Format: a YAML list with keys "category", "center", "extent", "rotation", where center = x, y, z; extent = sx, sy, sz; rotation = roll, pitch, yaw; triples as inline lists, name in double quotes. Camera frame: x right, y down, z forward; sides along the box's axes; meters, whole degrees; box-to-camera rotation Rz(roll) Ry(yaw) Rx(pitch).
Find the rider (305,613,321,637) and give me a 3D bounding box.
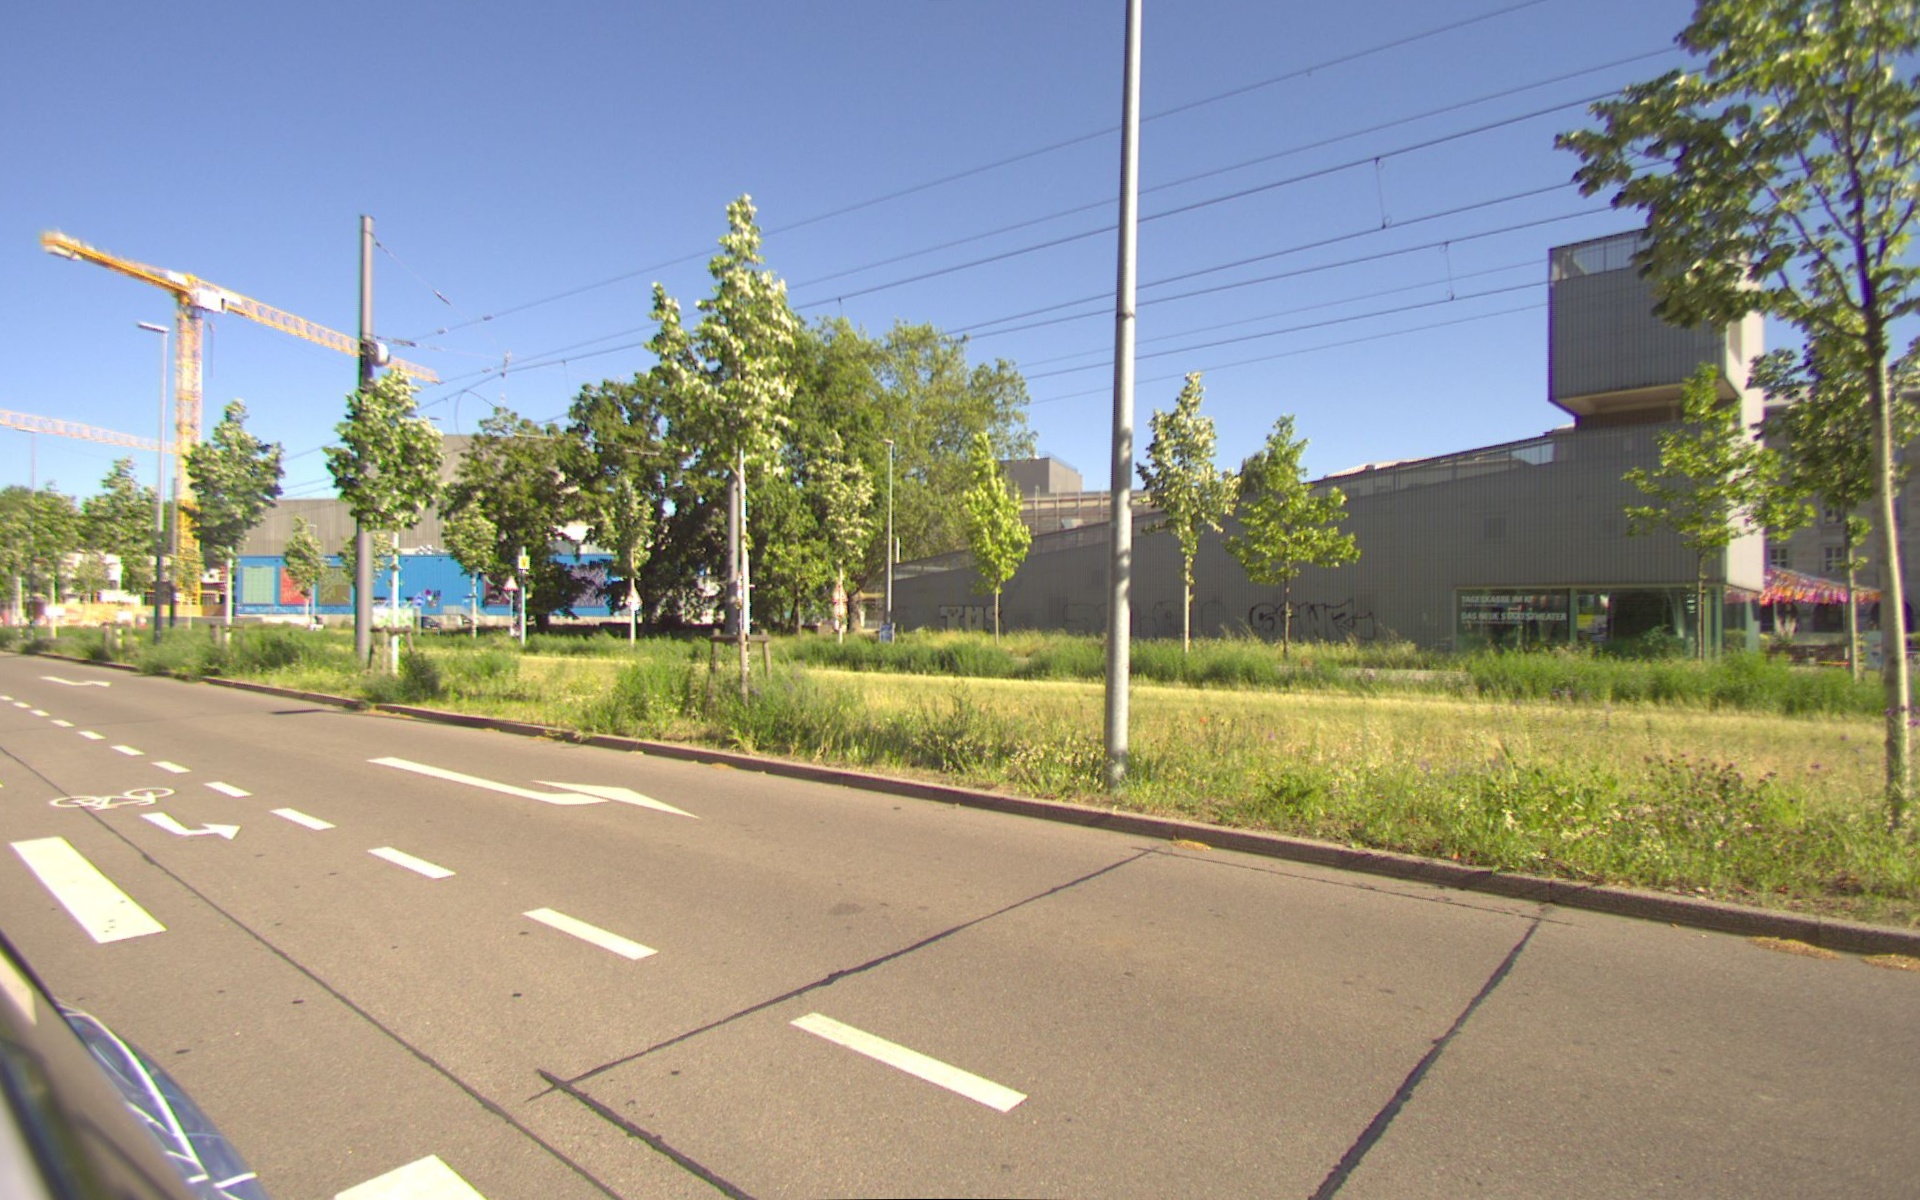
- category: "rider"
  center: [-41.267, 1.592, 64.527]
  extent: [0.631, 1.534, 0.715]
  rotation: [-1, -2, 38]
